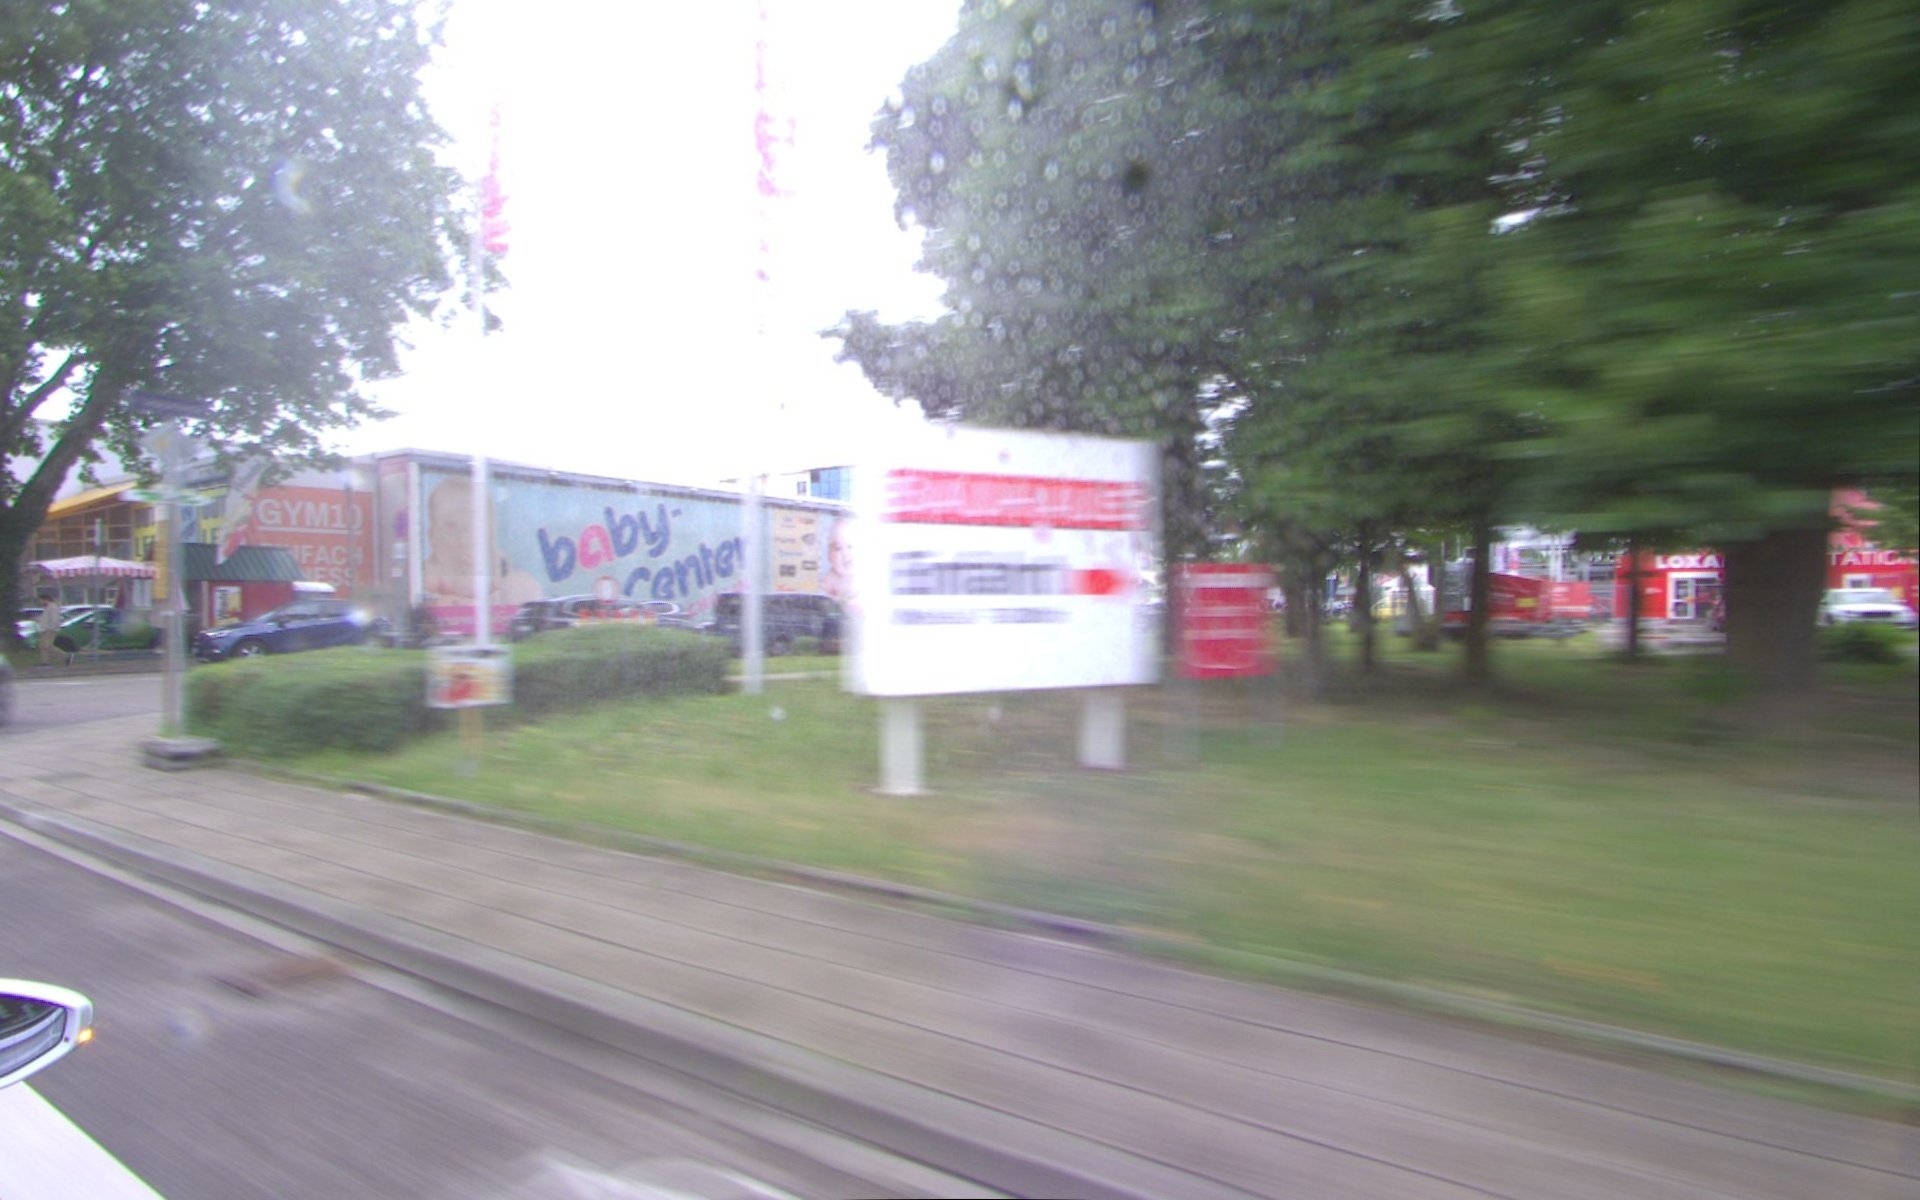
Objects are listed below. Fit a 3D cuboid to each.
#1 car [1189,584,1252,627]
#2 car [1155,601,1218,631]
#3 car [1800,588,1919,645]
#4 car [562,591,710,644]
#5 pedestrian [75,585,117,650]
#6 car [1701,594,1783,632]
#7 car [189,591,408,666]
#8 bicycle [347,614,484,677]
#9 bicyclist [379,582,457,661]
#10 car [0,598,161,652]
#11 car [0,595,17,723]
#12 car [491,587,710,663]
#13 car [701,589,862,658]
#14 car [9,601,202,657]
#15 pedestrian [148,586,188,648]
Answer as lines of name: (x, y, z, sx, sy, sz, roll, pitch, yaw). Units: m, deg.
car: (16.198, 0.308, 62.015, 2.044, 2.571, 5.728, 0, 0, 33)
car: (12.898, 0.856, 56.898, 2.044, 1.593, 4.542, 0, 0, 33)
car: (29.231, 0.489, 32.476, 2.122, 1.699, 4.548, 0, 0, 28)
car: (-11.149, 0.569, 34.731, 2.054, 1.699, 4.537, 0, 0, 37)
pedestrian: (-23.306, 0.455, 27.006, 0.589, 1.728, 0.678, 0, 1, 31)
car: (34.051, 0.543, 43.751, 2.123, 1.577, 4.547, 0, 0, 29)
car: (-16.426, 0.641, 25.029, 1.970, 1.699, 4.192, 0, 0, 41)
bicycle: (-11.749, 0.950, 21.740, 0.806, 1.229, 2.674, 0, 0, 24)
bicyclist: (-11.752, 0.444, 21.726, 0.806, 1.652, 1.231, 0, 1, 24)
car: (-28.277, 0.752, 31.773, 1.764, 1.572, 4.205, 0, 0, 31)
car: (-12.297, 0.734, 10.961, 1.801, 1.621, 3.759, 1, 0, -26)
car: (-8.230, 0.508, 23.336, 1.965, 1.593, 4.542, 0, 0, 33)
car: (-5.054, 0.622, 28.934, 2.044, 1.814, 4.542, 1, 1, 33)
car: (-26.287, 0.841, 30.954, 1.764, 1.572, 4.205, 0, 0, 31)
pedestrian: (-22.079, 0.464, 27.929, 0.589, 1.728, 0.678, 0, 1, 31)
